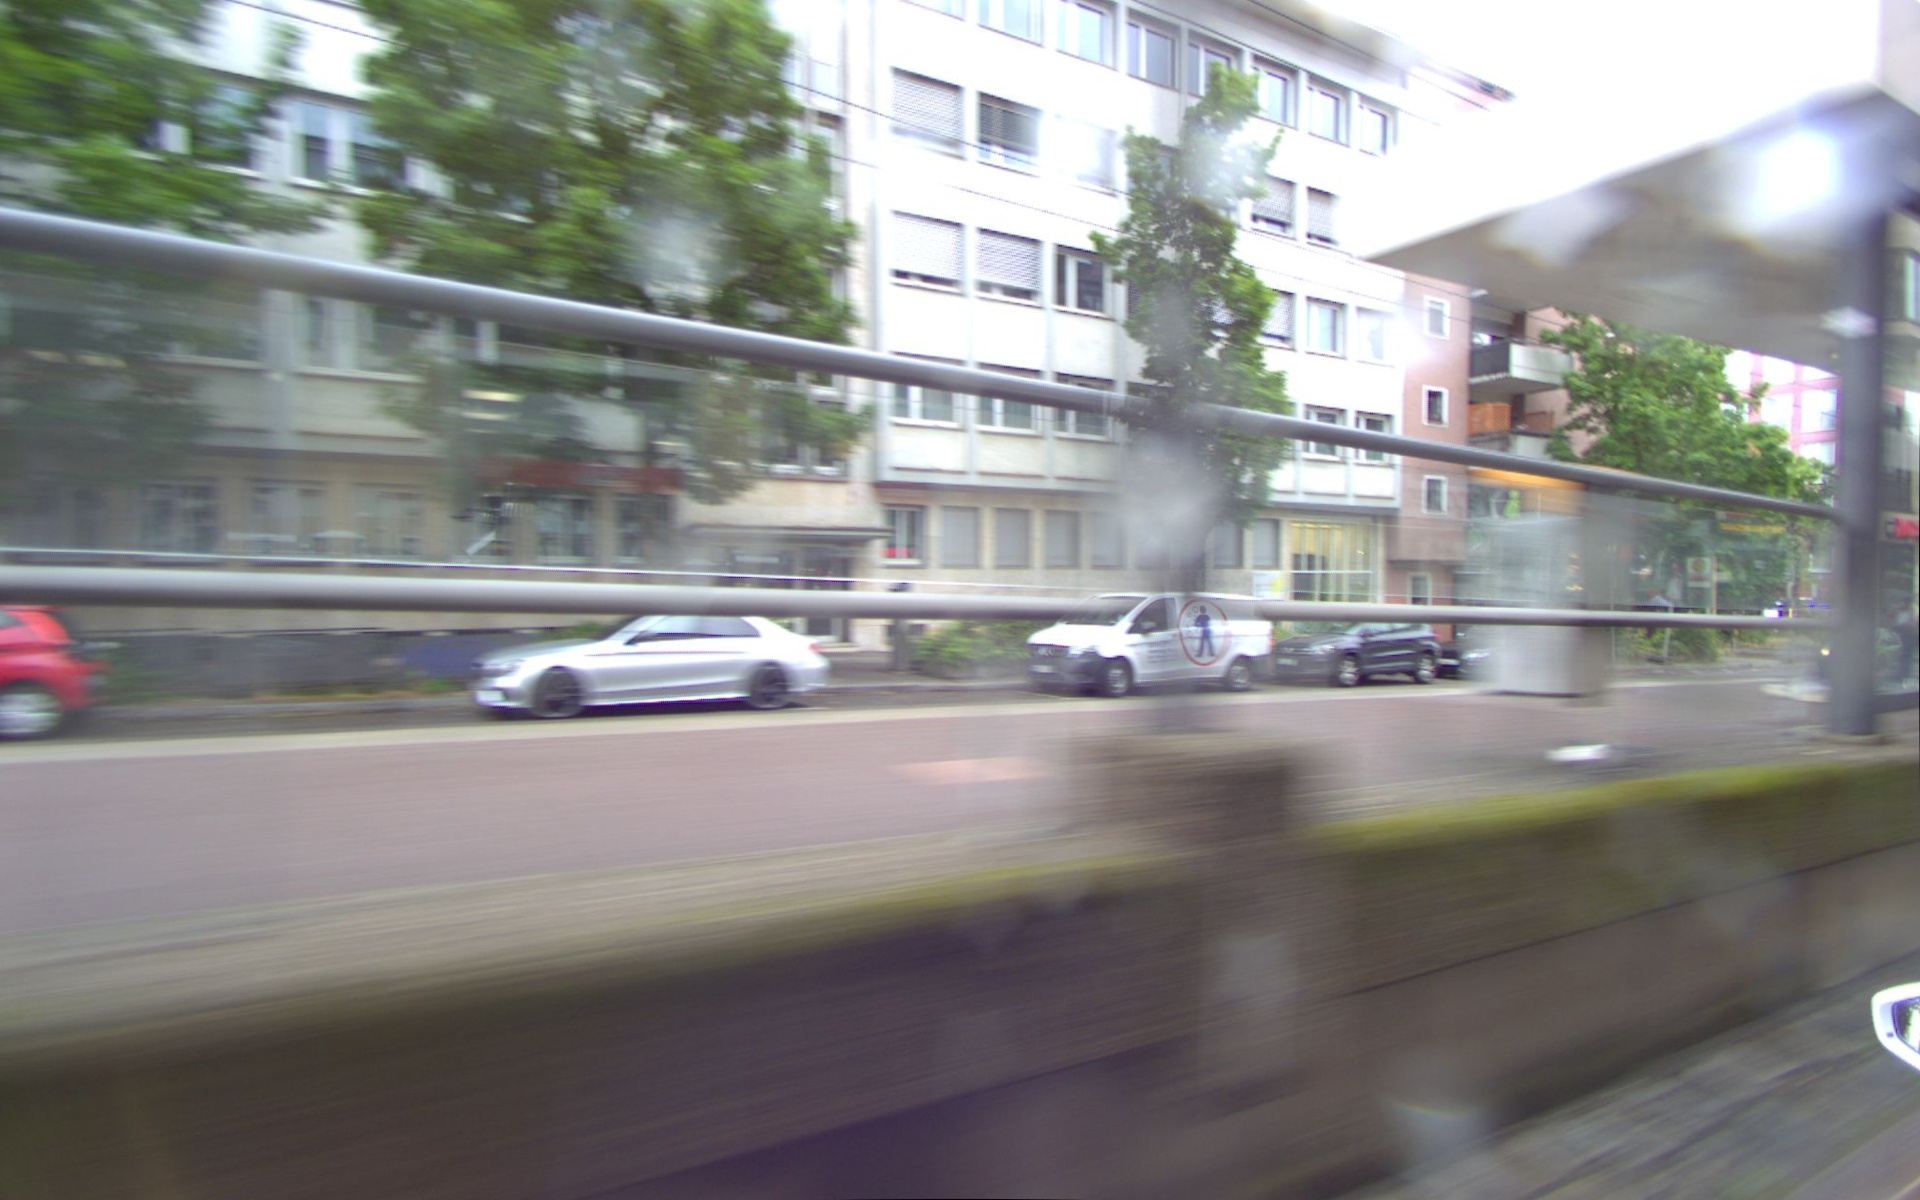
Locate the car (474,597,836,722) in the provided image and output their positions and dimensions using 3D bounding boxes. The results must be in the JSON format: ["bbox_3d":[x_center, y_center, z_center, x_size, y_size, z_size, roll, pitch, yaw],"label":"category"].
[{"bbox_3d":[-4.120,0.762,13.882,4.483,1.481,1.682,2,0,-33],"label":"car"}]

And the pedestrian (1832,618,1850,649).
[{"bbox_3d":[49.483,1.879,56.408,0.535,1.653,0.574,3,1,24],"label":"pedestrian"}]

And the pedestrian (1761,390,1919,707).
[{"bbox_3d":[5.428,-0.276,5.927,0.693,1.747,0.911,1,-1,-32],"label":"pedestrian"}]

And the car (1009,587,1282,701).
[{"bbox_3d":[3.561,0.780,18.770,5.204,1.869,1.895,2,0,-35],"label":"car"}]

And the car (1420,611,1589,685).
[{"bbox_3d":[13.367,1.154,24.601,4.319,1.645,1.631,2,0,-30],"label":"car"}]

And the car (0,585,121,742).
[{"bbox_3d":[-11.018,0.598,10.066,3.761,1.559,1.630,2,0,-32],"label":"car"}]

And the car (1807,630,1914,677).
[{"bbox_3d":[28.729,1.693,32.014,3.695,1.356,1.629,2,0,-33],"label":"car"}]

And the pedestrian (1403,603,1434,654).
[{"bbox_3d":[14.359,0.877,31.467,0.579,1.578,0.694,2,-1,-36],"label":"pedestrian"}]

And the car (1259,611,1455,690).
[{"bbox_3d":[8.682,1.072,21.848,4.319,1.557,1.631,2,0,-30],"label":"car"}]
